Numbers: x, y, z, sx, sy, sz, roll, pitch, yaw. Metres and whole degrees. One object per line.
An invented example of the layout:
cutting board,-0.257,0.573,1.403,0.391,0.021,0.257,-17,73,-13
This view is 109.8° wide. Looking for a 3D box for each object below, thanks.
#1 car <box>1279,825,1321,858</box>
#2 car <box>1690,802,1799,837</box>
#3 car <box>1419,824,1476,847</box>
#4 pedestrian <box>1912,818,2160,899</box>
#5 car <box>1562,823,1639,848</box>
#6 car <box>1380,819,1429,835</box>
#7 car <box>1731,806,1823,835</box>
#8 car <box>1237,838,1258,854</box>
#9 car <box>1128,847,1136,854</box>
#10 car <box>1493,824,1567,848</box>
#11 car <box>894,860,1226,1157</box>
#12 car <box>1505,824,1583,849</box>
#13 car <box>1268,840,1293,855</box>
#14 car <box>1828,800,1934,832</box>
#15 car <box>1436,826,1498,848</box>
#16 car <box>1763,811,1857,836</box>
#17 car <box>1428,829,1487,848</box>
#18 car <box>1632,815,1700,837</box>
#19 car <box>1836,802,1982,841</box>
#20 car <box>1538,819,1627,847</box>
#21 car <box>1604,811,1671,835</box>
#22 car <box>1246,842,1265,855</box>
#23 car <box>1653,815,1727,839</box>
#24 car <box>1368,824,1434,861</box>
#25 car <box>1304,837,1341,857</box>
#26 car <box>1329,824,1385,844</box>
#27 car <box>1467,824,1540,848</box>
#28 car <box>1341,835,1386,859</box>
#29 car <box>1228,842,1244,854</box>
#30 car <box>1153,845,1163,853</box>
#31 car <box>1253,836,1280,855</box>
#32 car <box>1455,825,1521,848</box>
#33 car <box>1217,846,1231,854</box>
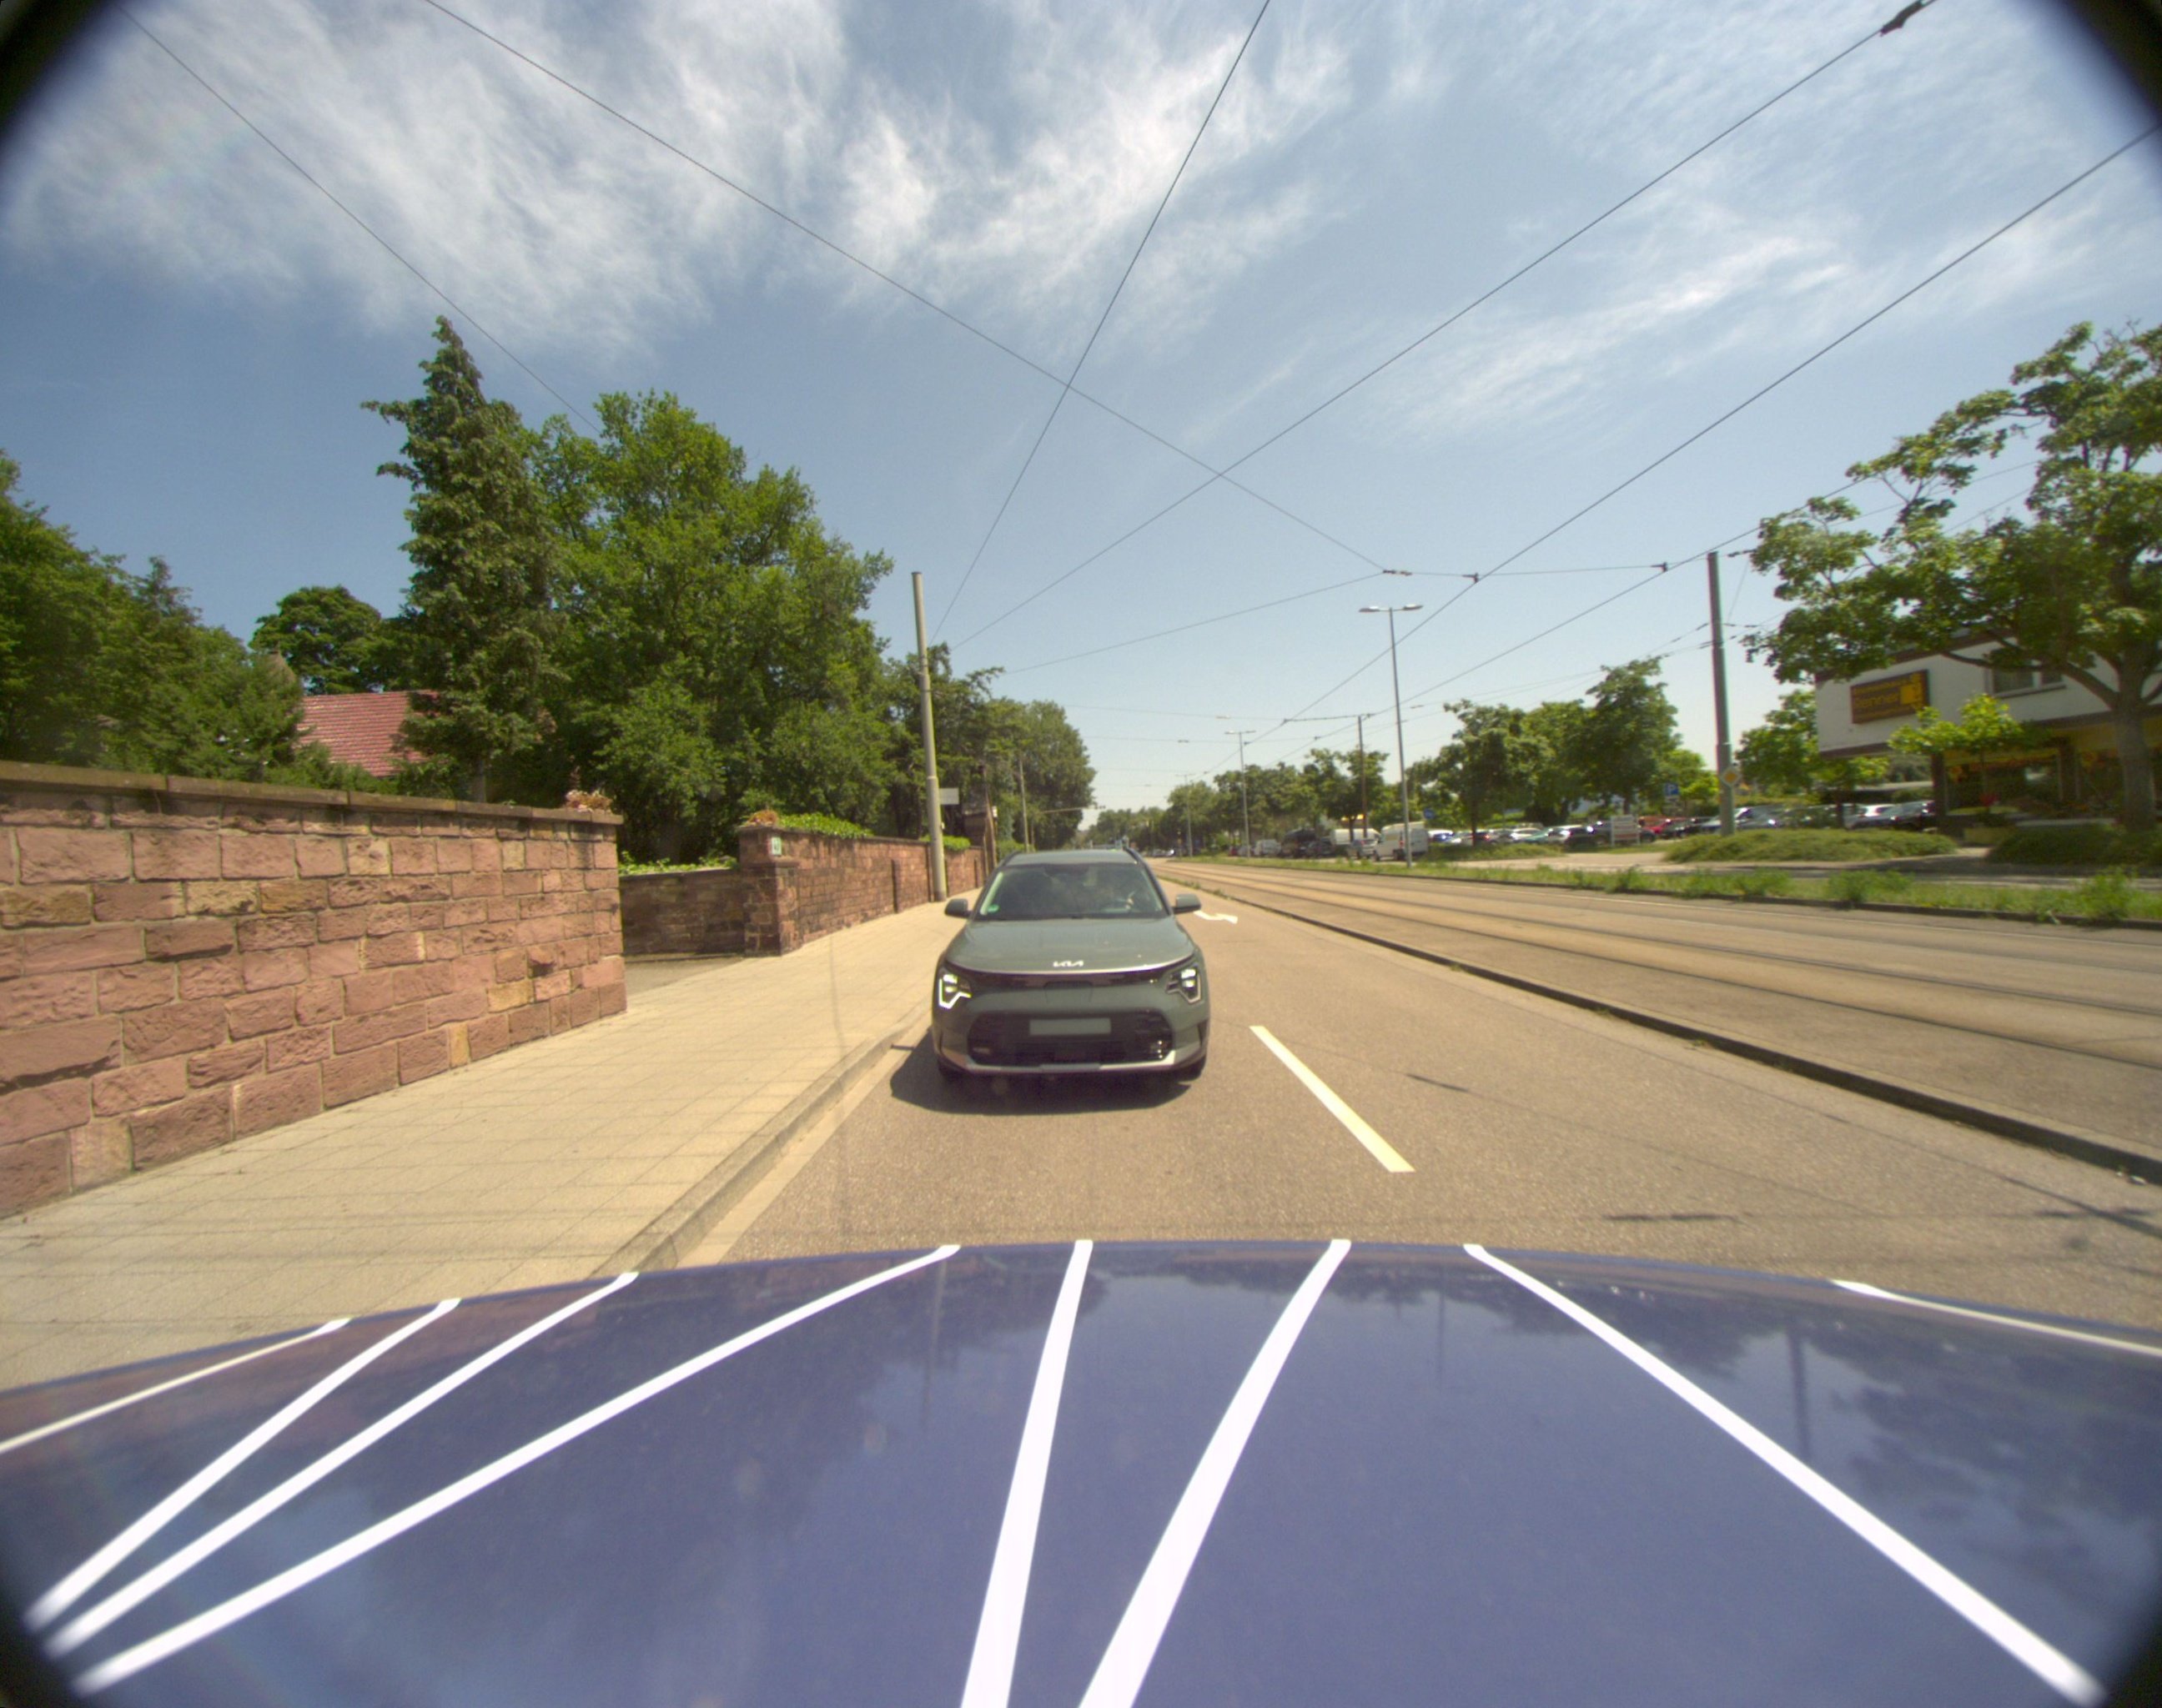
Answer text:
car,20.252,-1.184,70.492,2.244,2.822,5.667,-2,1,1
car,43.378,-2.242,49.757,5.120,2.058,2.226,-2,1,1
car,31.629,-1.567,65.584,3.998,1.708,1.797,-3,1,-3
pedestrian,26.721,0.077,21.520,1.998,2.002,3.999,-2,1,0
car,30.553,-1.085,44.726,3.423,1.225,1.642,-3,1,-6
car,44.658,-3.717,104.934,5.744,2.051,2.147,-2,1,-2
car,43.289,-2.073,47.337,3.996,1.647,1.803,-2,1,3
car,20.690,-1.030,94.633,1.635,1.882,4.496,-2,1,1
car,15.046,-1.002,224.028,1.821,1.979,4.212,-2,1,-3
car,30.948,-1.229,52.433,4.146,1.481,1.859,-2,1,-6
car,-0.127,0.885,6.422,1.824,1.577,4.287,-2,0,0
car,30.425,-1.138,49.977,4.040,1.481,1.911,-2,1,-6
car,20.598,-0.651,78.551,1.767,1.456,3.608,-2,1,2
car,43.926,-2.067,41.775,3.996,1.511,1.661,-2,1,3
car,30.525,-1.342,60.169,3.999,1.480,1.866,-3,1,-6
car,42.780,-1.752,44.641,3.724,1.277,1.764,-2,1,3
car,31.182,-1.303,62.932,3.998,1.398,1.797,-2,0,-3
car,44.246,-2.079,57.496,3.999,1.486,1.715,-2,1,-5
car,34.075,-1.308,31.350,3.996,1.289,1.682,-4,0,2
car,31.147,-1.273,47.292,4.172,1.481,1.984,-3,1,-1
car,43.745,-2.408,59.773,4.129,1.643,1.692,-3,1,-5
car,20.640,-0.697,89.942,1.429,1.470,3.262,-2,1,1
car,43.851,-1.929,54.756,3.997,1.576,1.684,-2,1,-1
car,20.102,-0.706,48.029,1.880,1.999,5.343,-6,1,1
car,20.328,-0.593,64.136,1.976,1.568,3.751,-2,1,1
car,30.700,-2.201,84.691,5.434,1.945,2.029,-2,1,2
car,30.440,-1.265,54.845,4.163,1.481,2.022,-3,1,-6
car,20.196,-0.525,54.474,1.654,1.494,4.125,-6,1,1
car,20.602,-0.858,101.122,1.582,1.472,3.423,-2,1,2
car,15.846,-0.982,156.359,1.728,1.601,4.569,-2,1,2
car,20.573,-0.971,84.398,1.924,1.937,4.816,-2,1,2
car,30.873,-1.322,57.675,4.075,1.481,1.831,-3,1,-6
car,21.322,-0.630,113.223,1.582,1.152,3.423,-2,1,2
